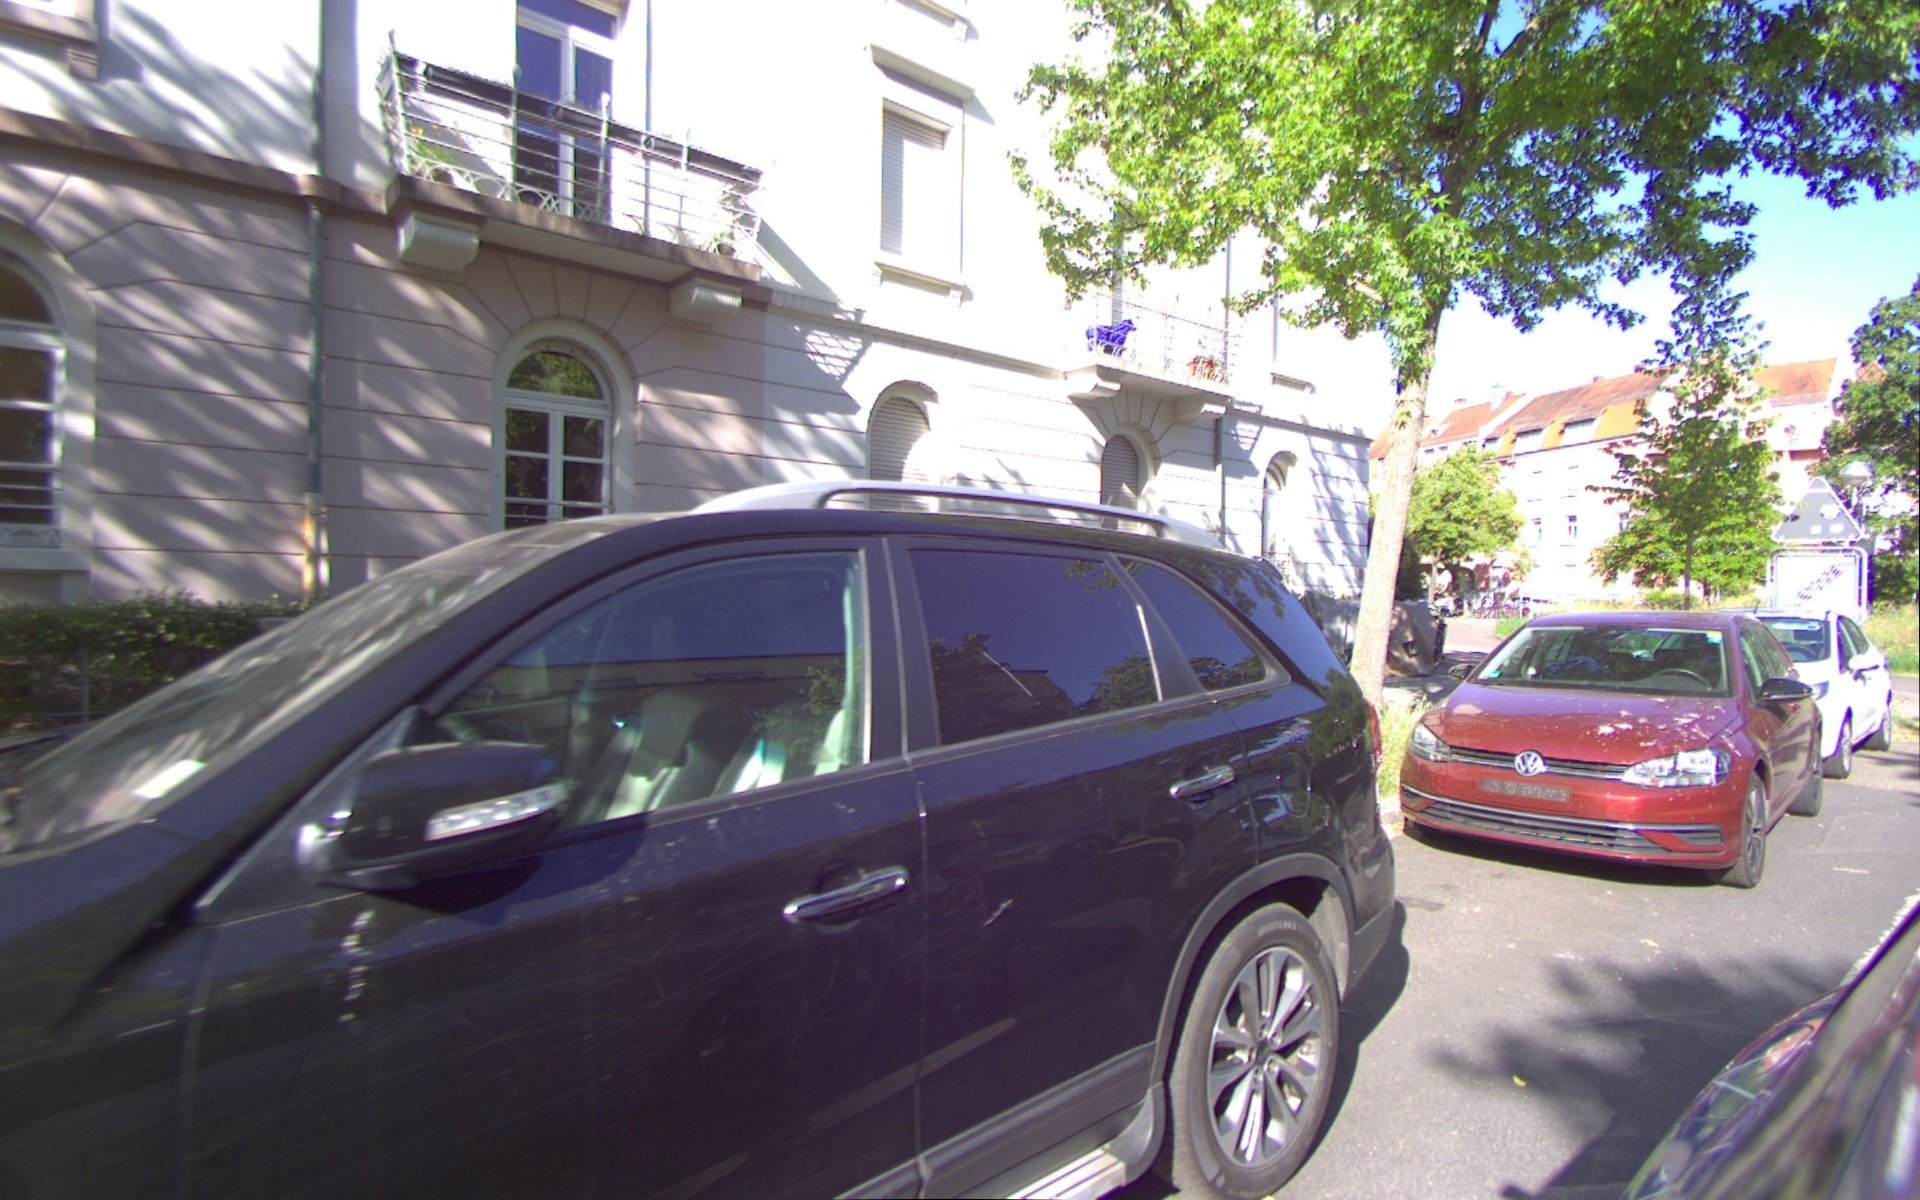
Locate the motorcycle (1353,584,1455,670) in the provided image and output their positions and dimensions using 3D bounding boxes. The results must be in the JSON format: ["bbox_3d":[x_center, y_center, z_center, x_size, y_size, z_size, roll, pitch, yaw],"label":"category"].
[{"bbox_3d":[7.416,0.419,16.862,0.971,1.345,1.823,1,1,44],"label":"motorcycle"}]

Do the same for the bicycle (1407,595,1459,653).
[{"bbox_3d":[10.139,0.498,21.740,0.437,1.163,1.776,1,1,7],"label":"bicycle"}]

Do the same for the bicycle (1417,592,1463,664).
[{"bbox_3d":[8.819,0.488,18.567,0.325,1.253,1.481,2,2,42],"label":"bicycle"}]

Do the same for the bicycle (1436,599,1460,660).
[{"bbox_3d":[9.632,0.554,19.952,0.348,1.117,1.556,1,2,28],"label":"bicycle"}]

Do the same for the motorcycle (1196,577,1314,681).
[{"bbox_3d":[4.183,0.378,14.250,2.052,1.378,0.540,0,1,-41],"label":"motorcycle"}]

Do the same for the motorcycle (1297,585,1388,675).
[{"bbox_3d":[5.967,0.430,15.730,0.656,1.295,1.772,4,3,43],"label":"motorcycle"}]

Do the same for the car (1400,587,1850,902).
[{"bbox_3d":[4.638,0.664,6.752,4.279,1.427,1.612,0,1,-44],"label":"car"}]

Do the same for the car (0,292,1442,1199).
[{"bbox_3d":[-0.748,0.539,2.324,4.222,1.719,1.784,0,1,-41],"label":"car"}]

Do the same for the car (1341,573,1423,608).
[{"bbox_3d":[29.896,-0.699,71.789,5.148,2.391,2.016,2,1,29],"label":"car"}]

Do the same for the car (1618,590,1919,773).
[{"bbox_3d":[8.120,0.644,9.999,4.063,1.419,1.655,0,1,-41],"label":"car"}]
